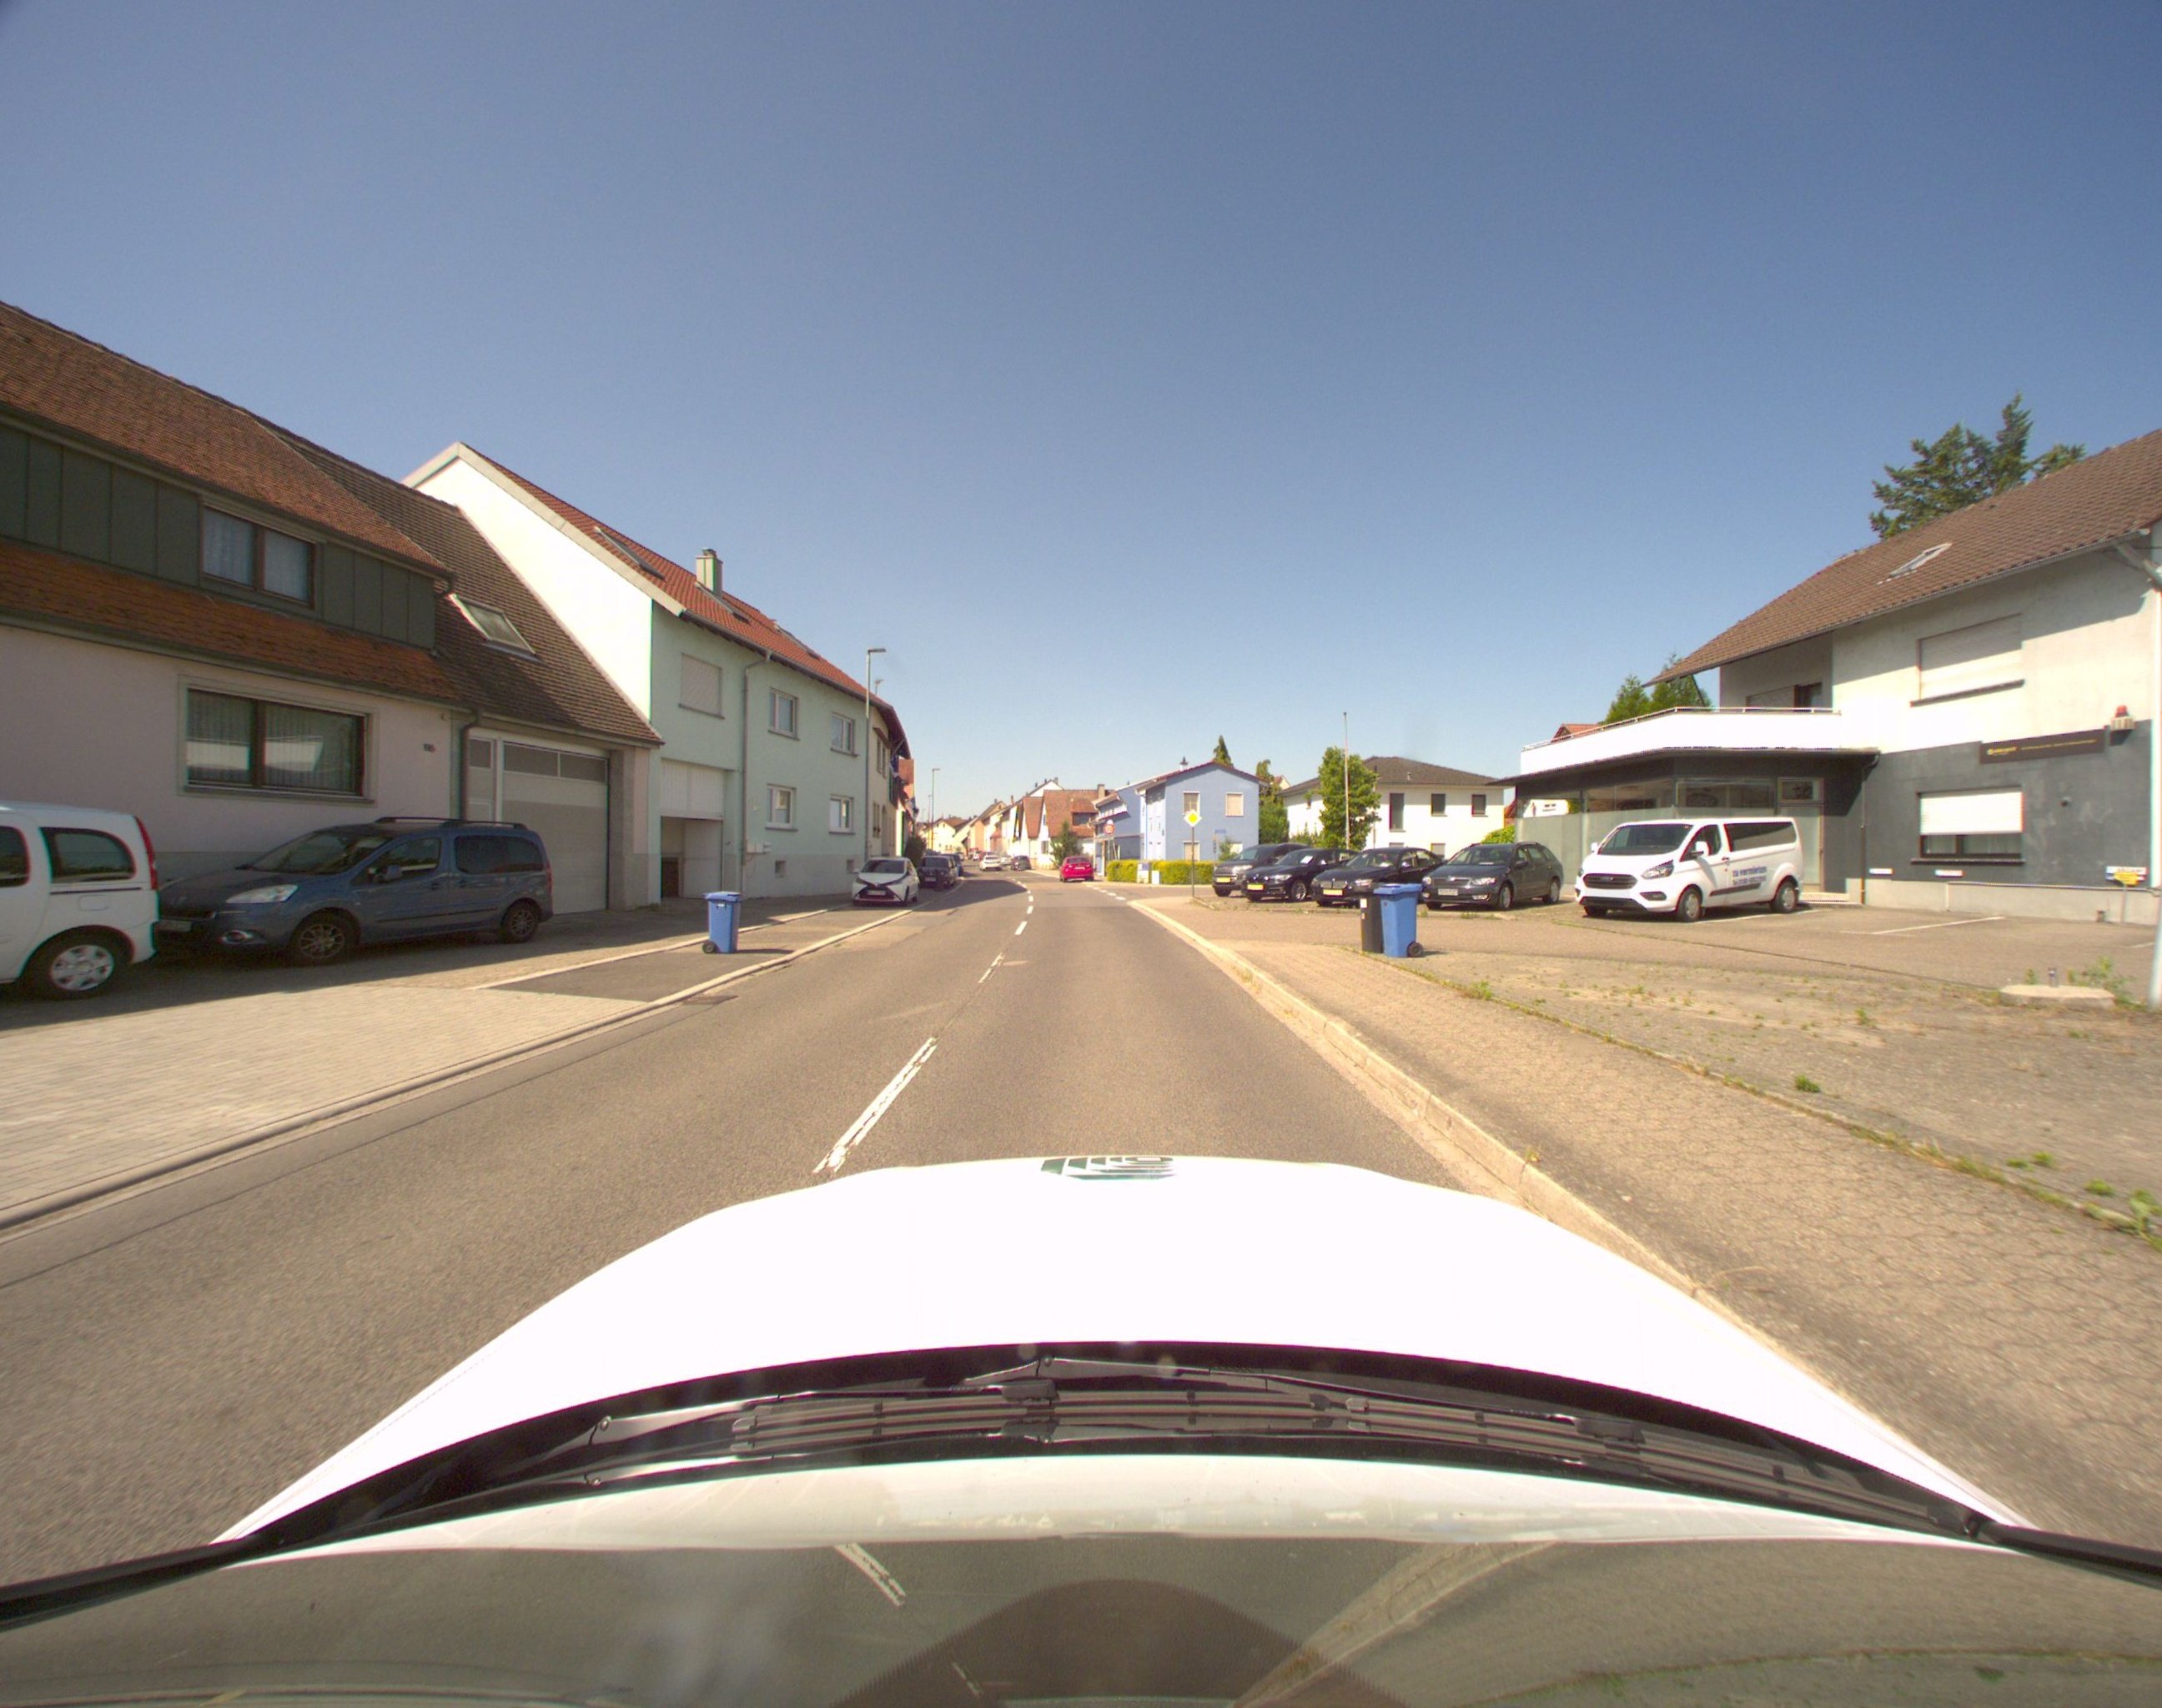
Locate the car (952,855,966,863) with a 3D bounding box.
[{"bbox_3d":[-19.712,0.839,131.738,1.995,1.288,3.788,0,0,-12],"label":"car"}]

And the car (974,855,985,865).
[{"bbox_3d":[-15.905,0.888,127.241,1.421,1.515,3.290,1,0,-12],"label":"car"}]

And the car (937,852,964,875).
[{"bbox_3d":[-10.020,0.711,62.581,1.920,1.668,4.651,2,-1,-9],"label":"car"}]

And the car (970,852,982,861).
[{"bbox_3d":[-17.572,0.437,135.556,1.768,1.433,3.437,0,0,-11],"label":"car"}]

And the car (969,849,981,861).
[{"bbox_3d":[-18.293,0.211,140.153,1.768,2.004,3.437,0,0,-11],"label":"car"}]

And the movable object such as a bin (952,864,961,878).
[{"bbox_3d":[-8.729,1.173,57.226,0.596,0.982,0.529,1,-1,-10],"label":"movable object such as a bin"}]

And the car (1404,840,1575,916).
[{"bbox_3d":[9.524,0.477,18.863,4.339,1.550,1.961,-1,0,-40],"label":"car"}]

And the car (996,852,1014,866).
[{"bbox_3d":[-8.830,0.559,94.414,1.706,1.496,3.437,1,0,-12],"label":"car"}]

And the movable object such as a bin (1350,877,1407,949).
[{"bbox_3d":[4.048,0.796,11.108,0.557,0.936,0.513,-1,0,-8],"label":"movable object such as a bin"}]

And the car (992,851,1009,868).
[{"bbox_3d":[-9.825,0.669,99.514,1.651,1.910,3.610,1,0,-12],"label":"car"}]

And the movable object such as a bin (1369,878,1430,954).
[{"bbox_3d":[4.136,0.791,10.603,0.557,0.939,0.513,-1,0,-8],"label":"movable object such as a bin"}]

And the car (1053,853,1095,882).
[{"bbox_3d":[-0.446,0.735,46.681,1.732,1.494,4.340,-1,1,-10],"label":"car"}]

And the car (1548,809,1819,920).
[{"bbox_3d":[12.471,0.167,16.843,5.293,2.013,2.214,-1,0,-24],"label":"car"}]

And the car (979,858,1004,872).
[{"bbox_3d":[-8.548,1.043,77.660,1.995,1.288,3.983,0,0,-12],"label":"car"}]

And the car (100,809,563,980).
[{"bbox_3d":[-9.682,0.434,11.136,1.825,1.793,4.355,3,0,11],"label":"car"}]

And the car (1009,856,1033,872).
[{"bbox_3d":[-5.738,0.955,77.677,1.706,1.433,3.873,1,0,-12],"label":"car"}]

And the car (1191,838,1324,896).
[{"bbox_3d":[5.560,0.357,25.419,4.133,1.653,1.810,-1,0,-38],"label":"car"}]

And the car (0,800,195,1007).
[{"bbox_3d":[-10.334,0.409,6.314,1.957,1.774,4.286,0,-1,7],"label":"car"}]

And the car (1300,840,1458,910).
[{"bbox_3d":[7.563,0.462,20.478,4.262,1.565,1.960,-1,0,-42],"label":"car"}]

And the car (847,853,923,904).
[{"bbox_3d":[-6.021,0.714,25.334,1.680,1.462,3.644,1,-1,-4],"label":"car"}]

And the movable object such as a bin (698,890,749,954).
[{"bbox_3d":[-5.553,1.047,12.674,0.557,0.936,0.513,2,-1,-8],"label":"movable object such as a bin"}]

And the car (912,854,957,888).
[{"bbox_3d":[-6.720,0.761,37.699,1.676,1.437,3.987,3,-1,-6],"label":"car"}]

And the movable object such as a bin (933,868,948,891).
[{"bbox_3d":[-5.904,1.074,34.257,0.551,0.928,0.822,4,-1,-12],"label":"movable object such as a bin"}]

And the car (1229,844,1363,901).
[{"bbox_3d":[6.043,0.464,22.674,3.894,1.447,1.730,-1,0,-41],"label":"car"}]
